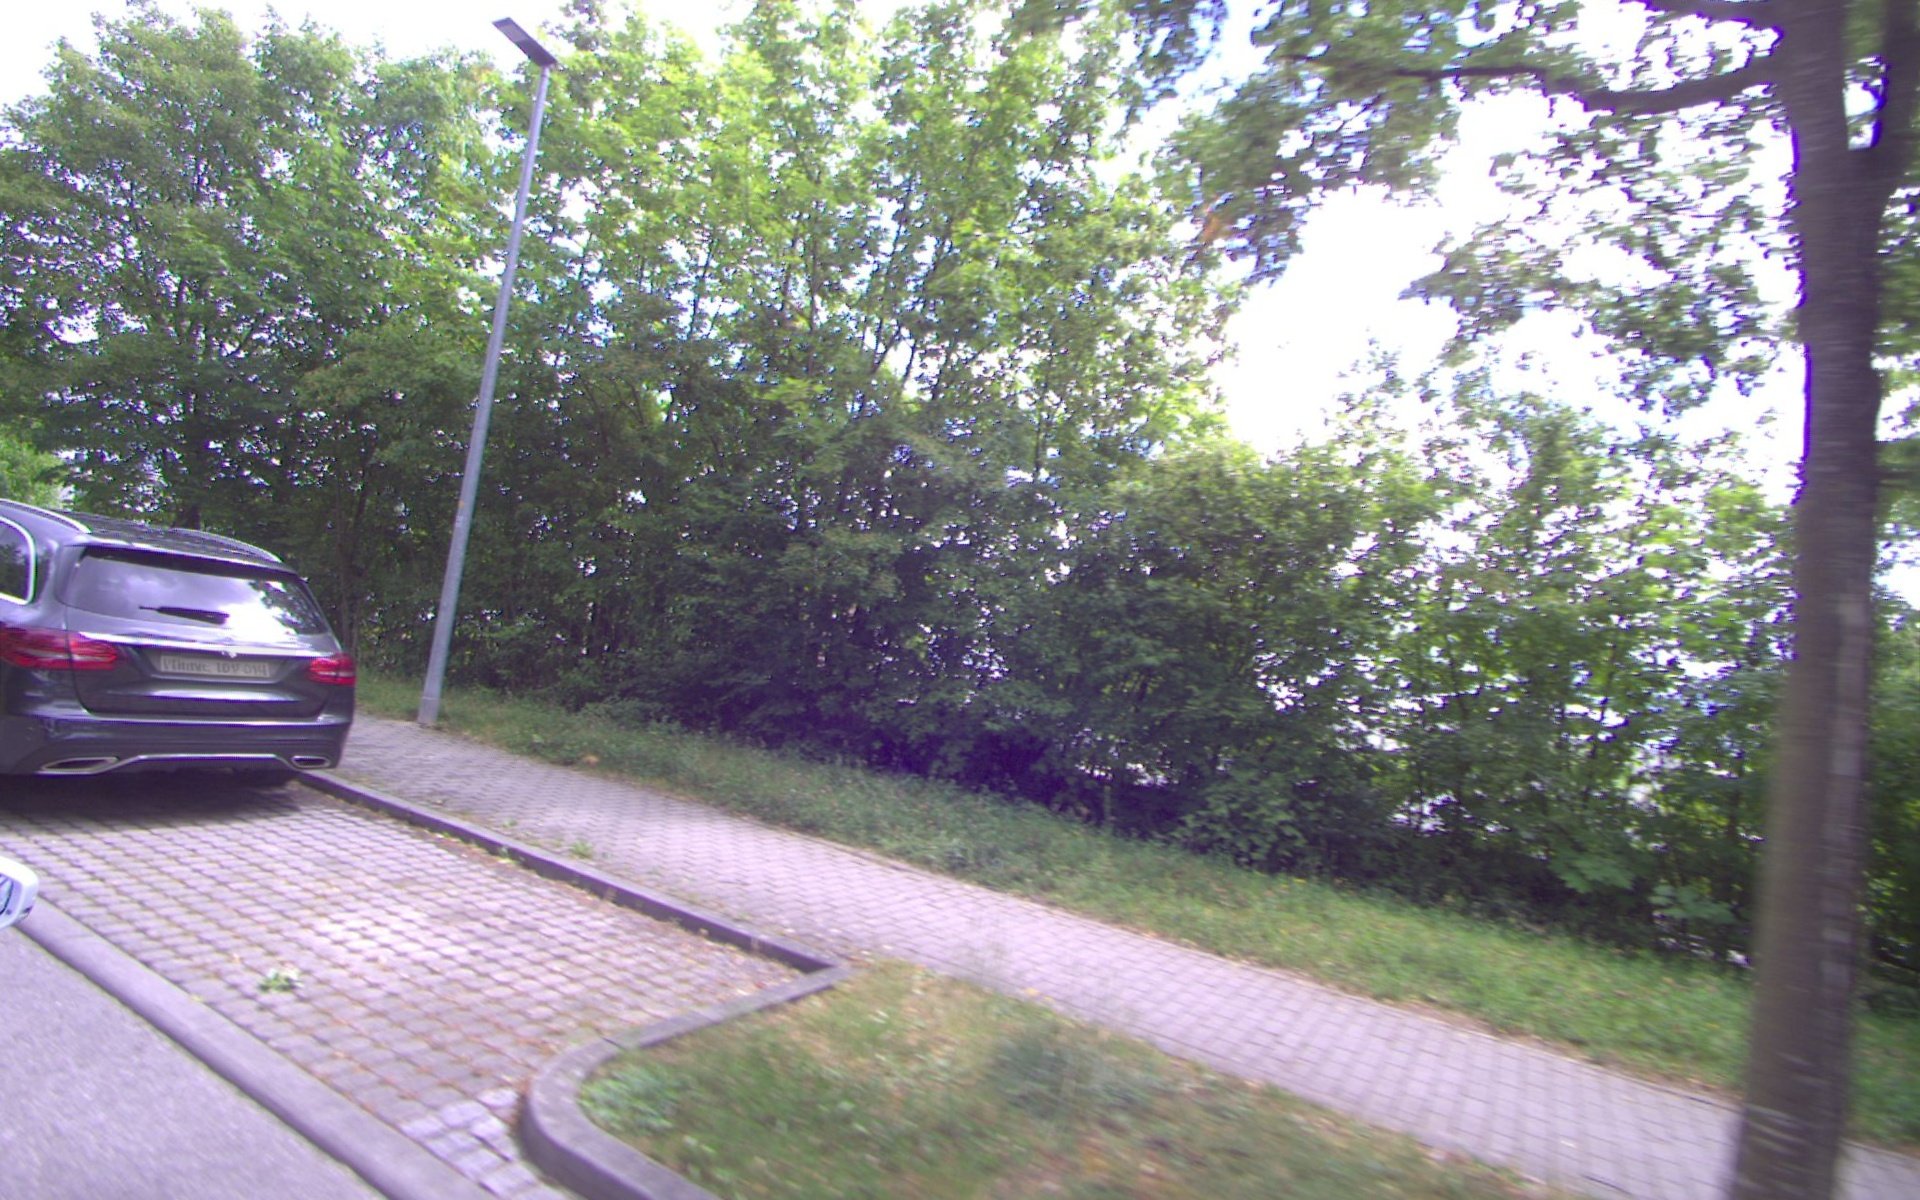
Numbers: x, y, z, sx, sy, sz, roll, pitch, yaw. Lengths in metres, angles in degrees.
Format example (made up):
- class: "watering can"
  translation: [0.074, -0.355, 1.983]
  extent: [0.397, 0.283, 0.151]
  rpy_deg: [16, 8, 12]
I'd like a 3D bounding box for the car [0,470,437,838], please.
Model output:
- class: "car"
  translation: [-5.523, 0.090, 6.125]
  extent: [4.469, 1.546, 1.899]
  rpy_deg: [8, -3, 30]
